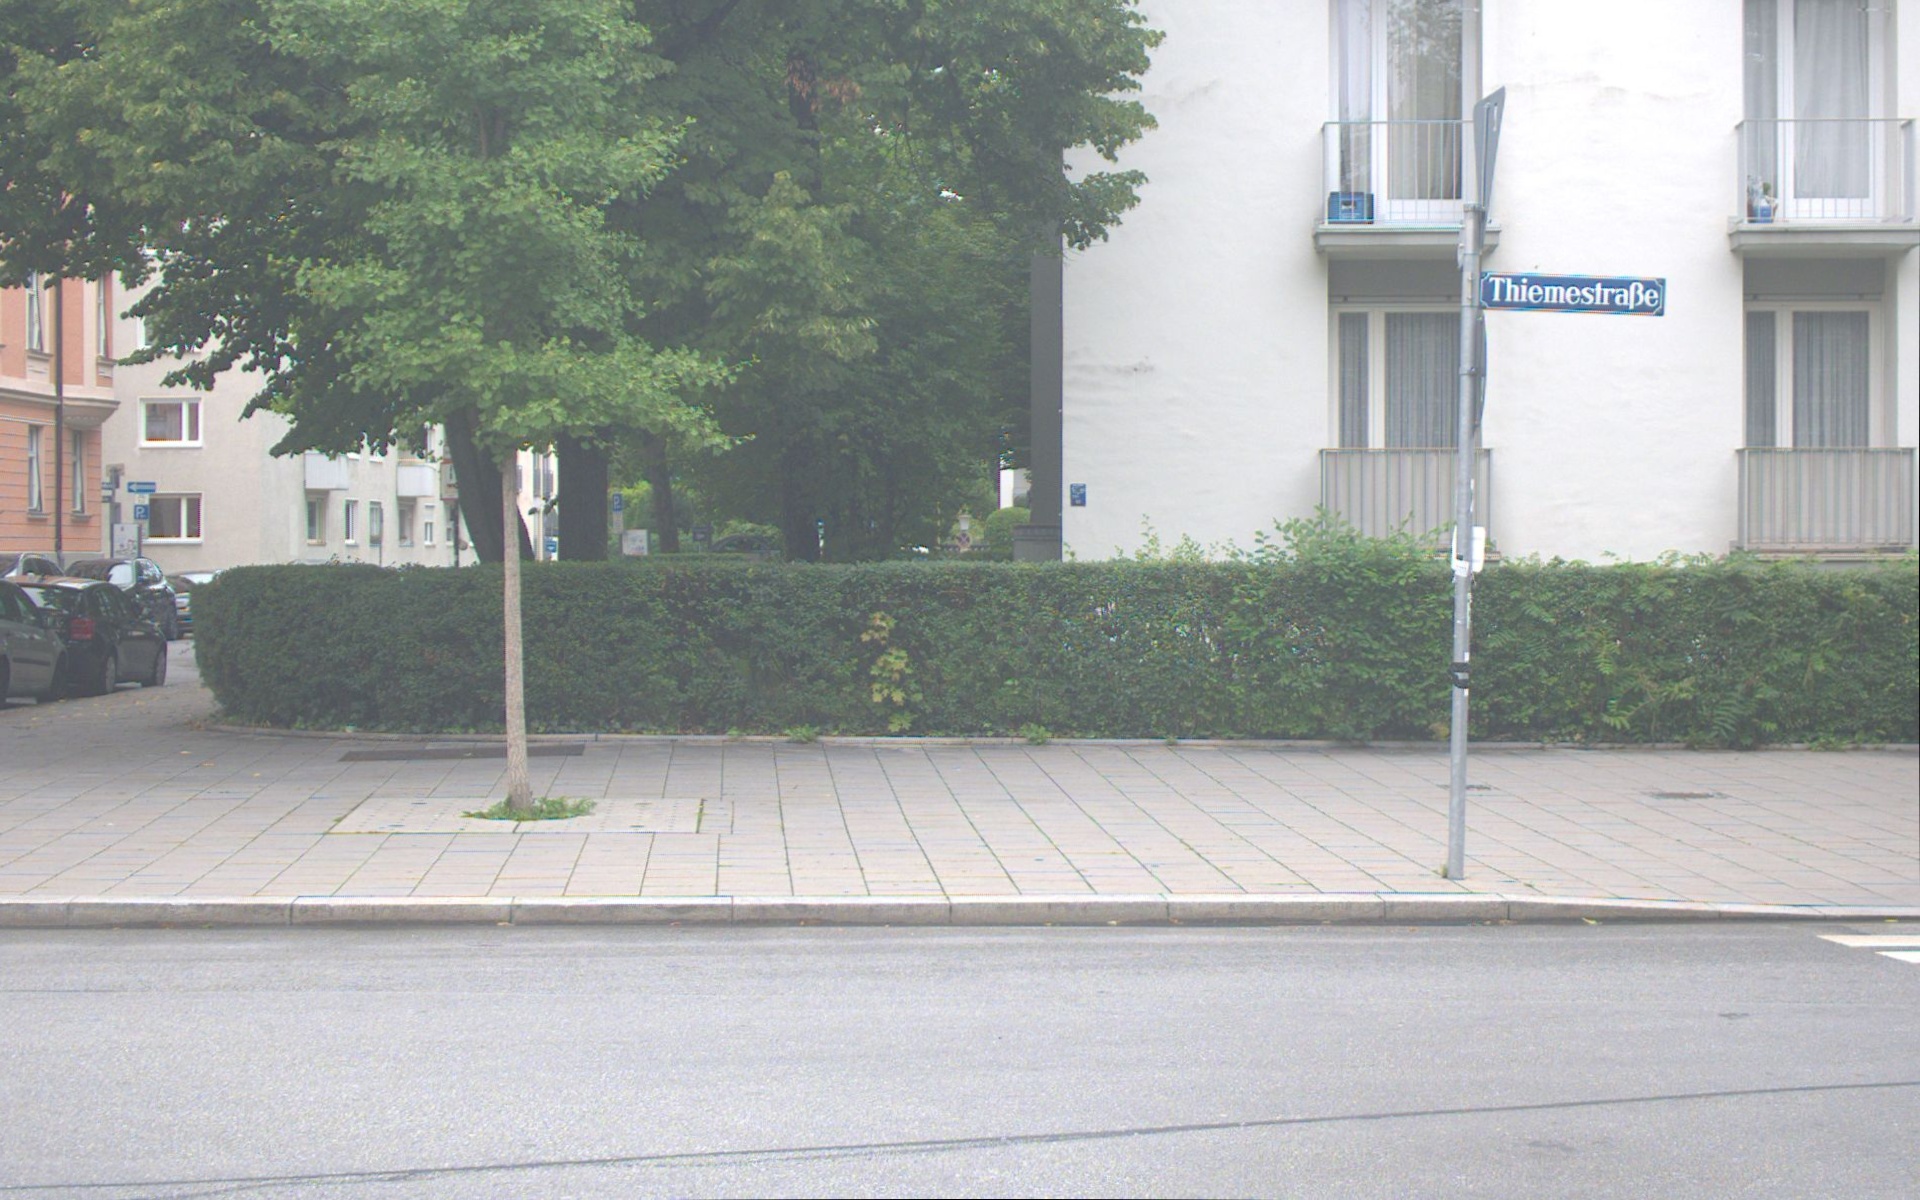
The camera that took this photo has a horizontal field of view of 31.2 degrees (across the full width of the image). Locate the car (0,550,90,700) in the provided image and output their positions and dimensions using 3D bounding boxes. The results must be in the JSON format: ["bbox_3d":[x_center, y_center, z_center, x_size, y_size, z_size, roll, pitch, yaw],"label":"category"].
[{"bbox_3d":[-10.580,0.243,36.430,1.793,1.500,4.116,-1,1,-2],"label":"car"}]

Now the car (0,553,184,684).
[{"bbox_3d":[-10.832,0.193,42.222,1.793,1.500,4.116,-1,1,-2],"label":"car"}]

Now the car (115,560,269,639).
[{"bbox_3d":[-16.246,-0.039,72.895,1.976,1.575,4.407,1,1,4],"label":"car"}]

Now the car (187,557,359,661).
[{"bbox_3d":[-10.603,0.102,53.338,1.835,1.500,4.115,-1,1,0],"label":"car"}]

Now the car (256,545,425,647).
[{"bbox_3d":[-10.389,-0.096,57.945,1.835,1.629,4.115,-1,1,4],"label":"car"}]

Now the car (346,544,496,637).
[{"bbox_3d":[-9.933,-0.193,63.594,1.835,1.629,3.819,-1,1,5],"label":"car"}]
